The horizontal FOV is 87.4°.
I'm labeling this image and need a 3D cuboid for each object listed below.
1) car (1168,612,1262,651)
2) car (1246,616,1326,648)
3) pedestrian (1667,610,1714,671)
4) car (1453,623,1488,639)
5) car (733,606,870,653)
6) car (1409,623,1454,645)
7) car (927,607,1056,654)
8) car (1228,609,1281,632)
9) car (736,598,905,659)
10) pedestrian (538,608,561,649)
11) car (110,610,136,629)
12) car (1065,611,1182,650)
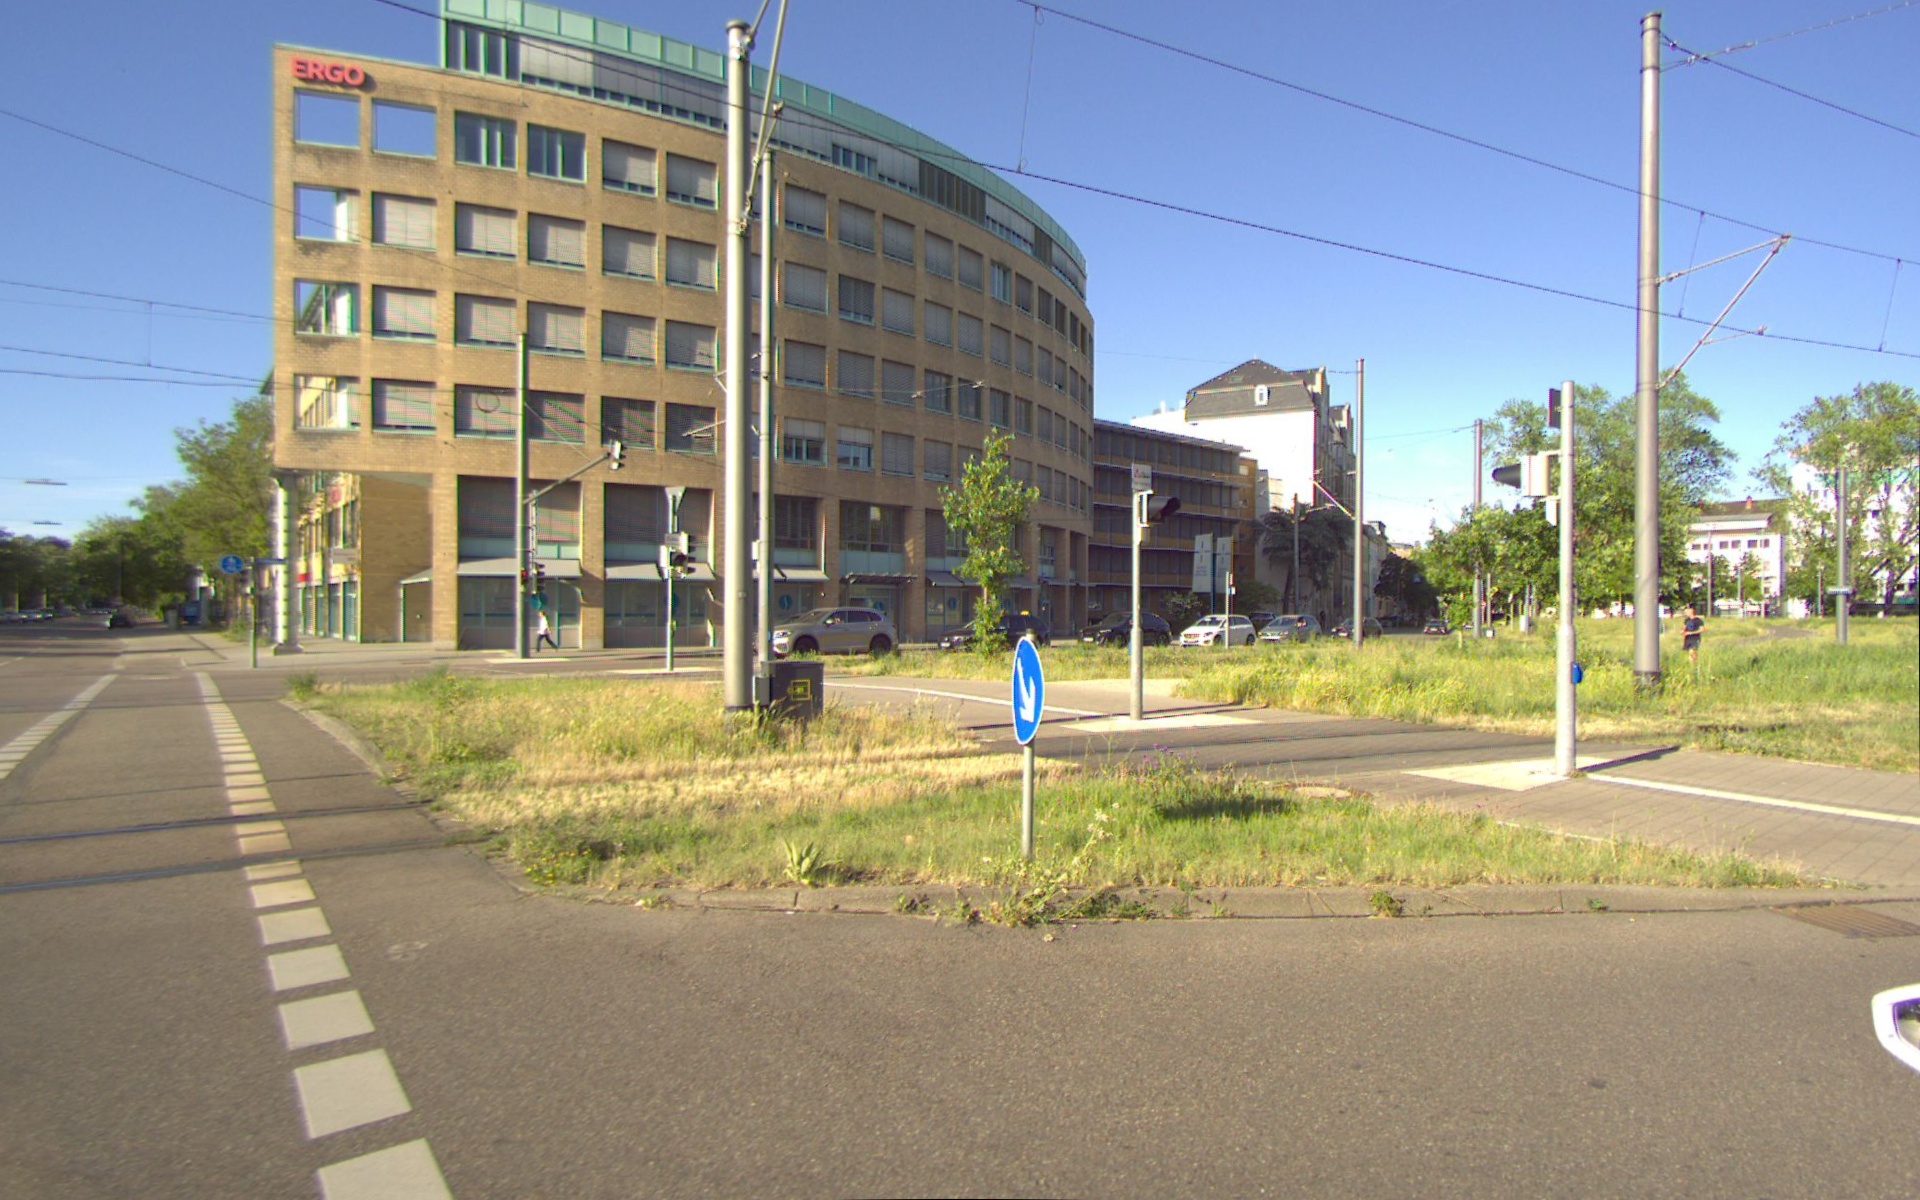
[{"bbox_3d":[11.897,1.459,46.664,4.622,1.617,1.975,2,1,-42],"label":"car"},{"bbox_3d":[16.472,1.616,50.627,4.481,1.446,1.973,2,1,-45],"label":"car"},{"bbox_3d":[20.504,1.126,28.201,0.732,1.693,0.734,1,0,-15],"label":"pedestrian"},{"bbox_3d":[48.978,2.952,96.271,1.970,1.372,4.745,2,1,40],"label":"car"},{"bbox_3d":[-6.399,1.194,40.874,5.170,1.690,2.099,2,1,-41],"label":"car"},{"bbox_3d":[38.683,2.806,82.324,1.973,1.532,4.256,2,-3,45],"label":"car"},{"bbox_3d":[1.195,1.097,36.814,4.627,1.537,1.975,2,1,-42],"label":"car"},{"bbox_3d":[23.669,1.652,80.760,3.922,1.602,2.000,3,1,21],"label":"car"},{"bbox_3d":[-4.379,0.867,31.987,5.048,1.757,2.081,1,0,-42],"label":"car"},{"bbox_3d":[-15.959,1.111,39.009,0.704,1.552,0.594,2,1,-32],"label":"pedestrian"},{"bbox_3d":[-79.073,1.856,94.879,1.823,1.595,3.897,2,1,-39],"label":"car"},{"bbox_3d":[6.901,1.289,42.170,4.975,1.467,1.978,2,1,-38],"label":"car"}]
